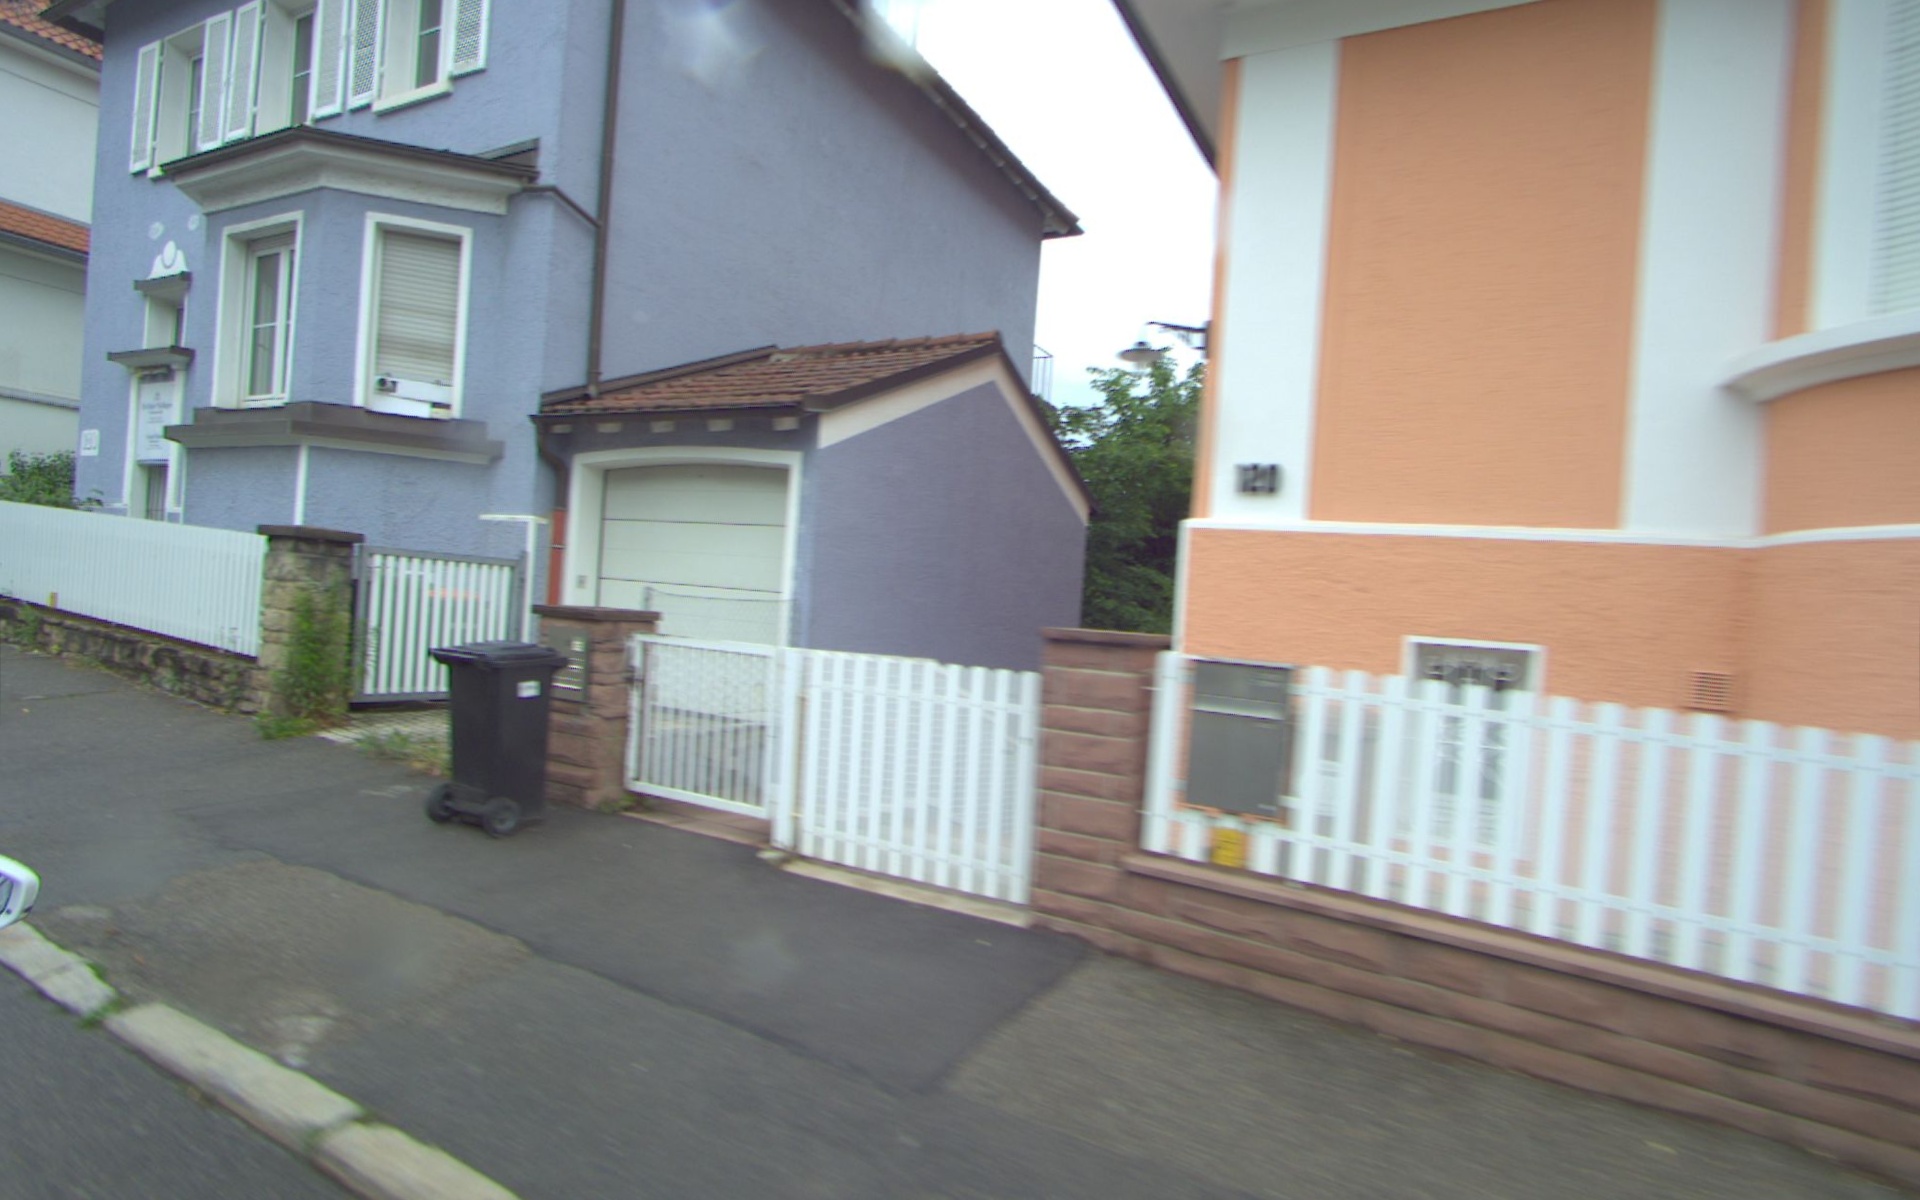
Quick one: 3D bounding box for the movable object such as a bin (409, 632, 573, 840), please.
[{"bbox_3d":[-2.368,0.658,5.103,0.479,0.931,0.532,6,3,27],"label":"movable object such as a bin"}]
